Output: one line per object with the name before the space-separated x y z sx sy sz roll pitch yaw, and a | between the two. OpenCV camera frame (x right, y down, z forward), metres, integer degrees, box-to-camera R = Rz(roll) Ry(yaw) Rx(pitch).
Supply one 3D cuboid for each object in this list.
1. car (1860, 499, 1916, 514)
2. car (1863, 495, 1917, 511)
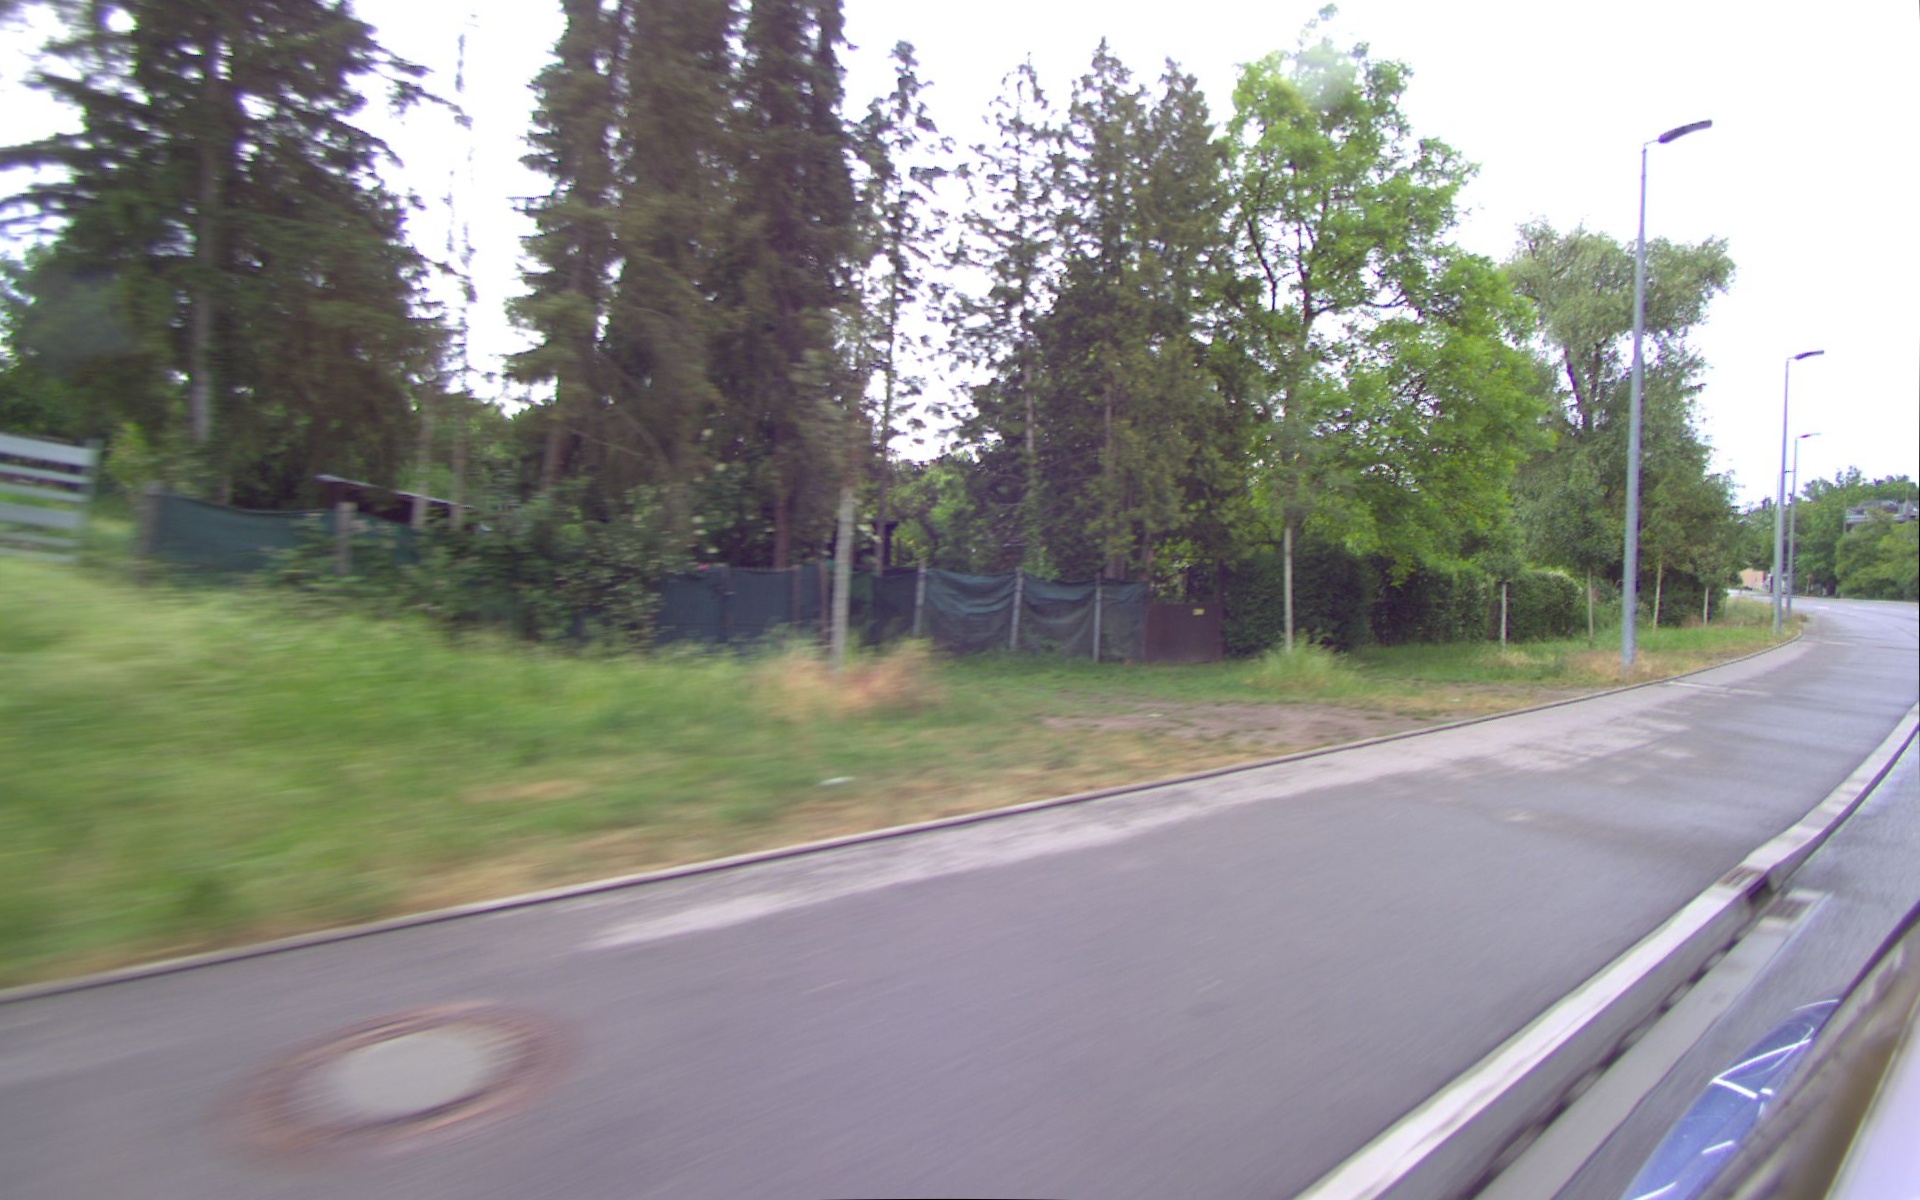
car | 99.112 -9.979 108.104 1.962 1.537 4.002 0 4 -35
car | 101.944 -10.630 110.972 1.962 1.537 4.002 0 4 -35
